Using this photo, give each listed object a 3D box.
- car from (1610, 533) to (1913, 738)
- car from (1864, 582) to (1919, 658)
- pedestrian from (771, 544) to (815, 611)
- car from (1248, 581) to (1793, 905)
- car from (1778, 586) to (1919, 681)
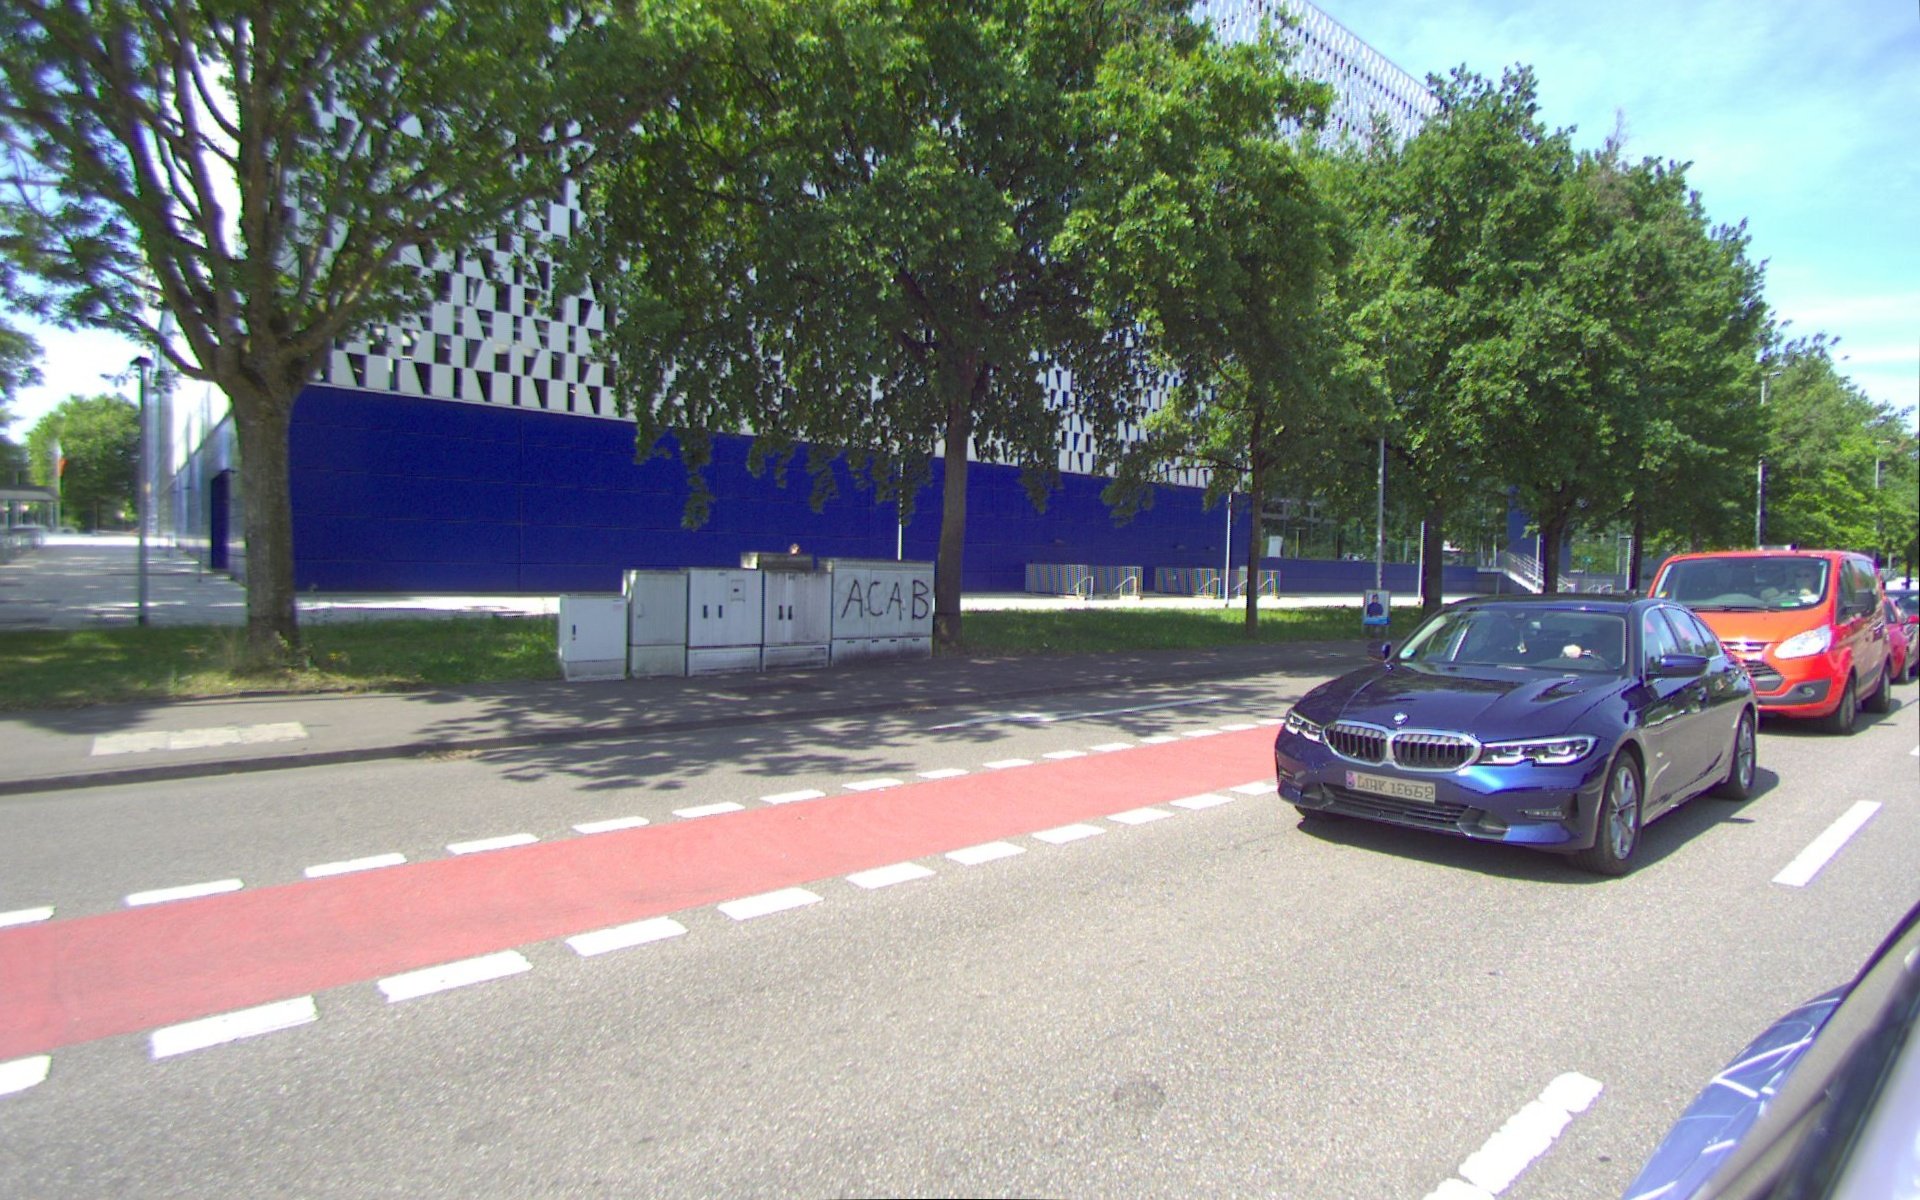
[{"bbox_3d":[9.503,0.303,11.846,4.727,1.931,2.012,-1,1,-42],"label":"car"},{"bbox_3d":[21.219,0.394,22.222,3.932,1.559,1.647,-1,-1,-42],"label":"car"},{"bbox_3d":[-3.995,-0.543,24.184,0.767,1.565,0.680,0,2,-41],"label":"pedestrian"},{"bbox_3d":[3.944,0.617,6.738,4.460,1.447,1.798,-1,2,-42],"label":"car"},{"bbox_3d":[15.524,0.488,17.419,3.849,1.440,1.690,-1,1,-43],"label":"car"}]
